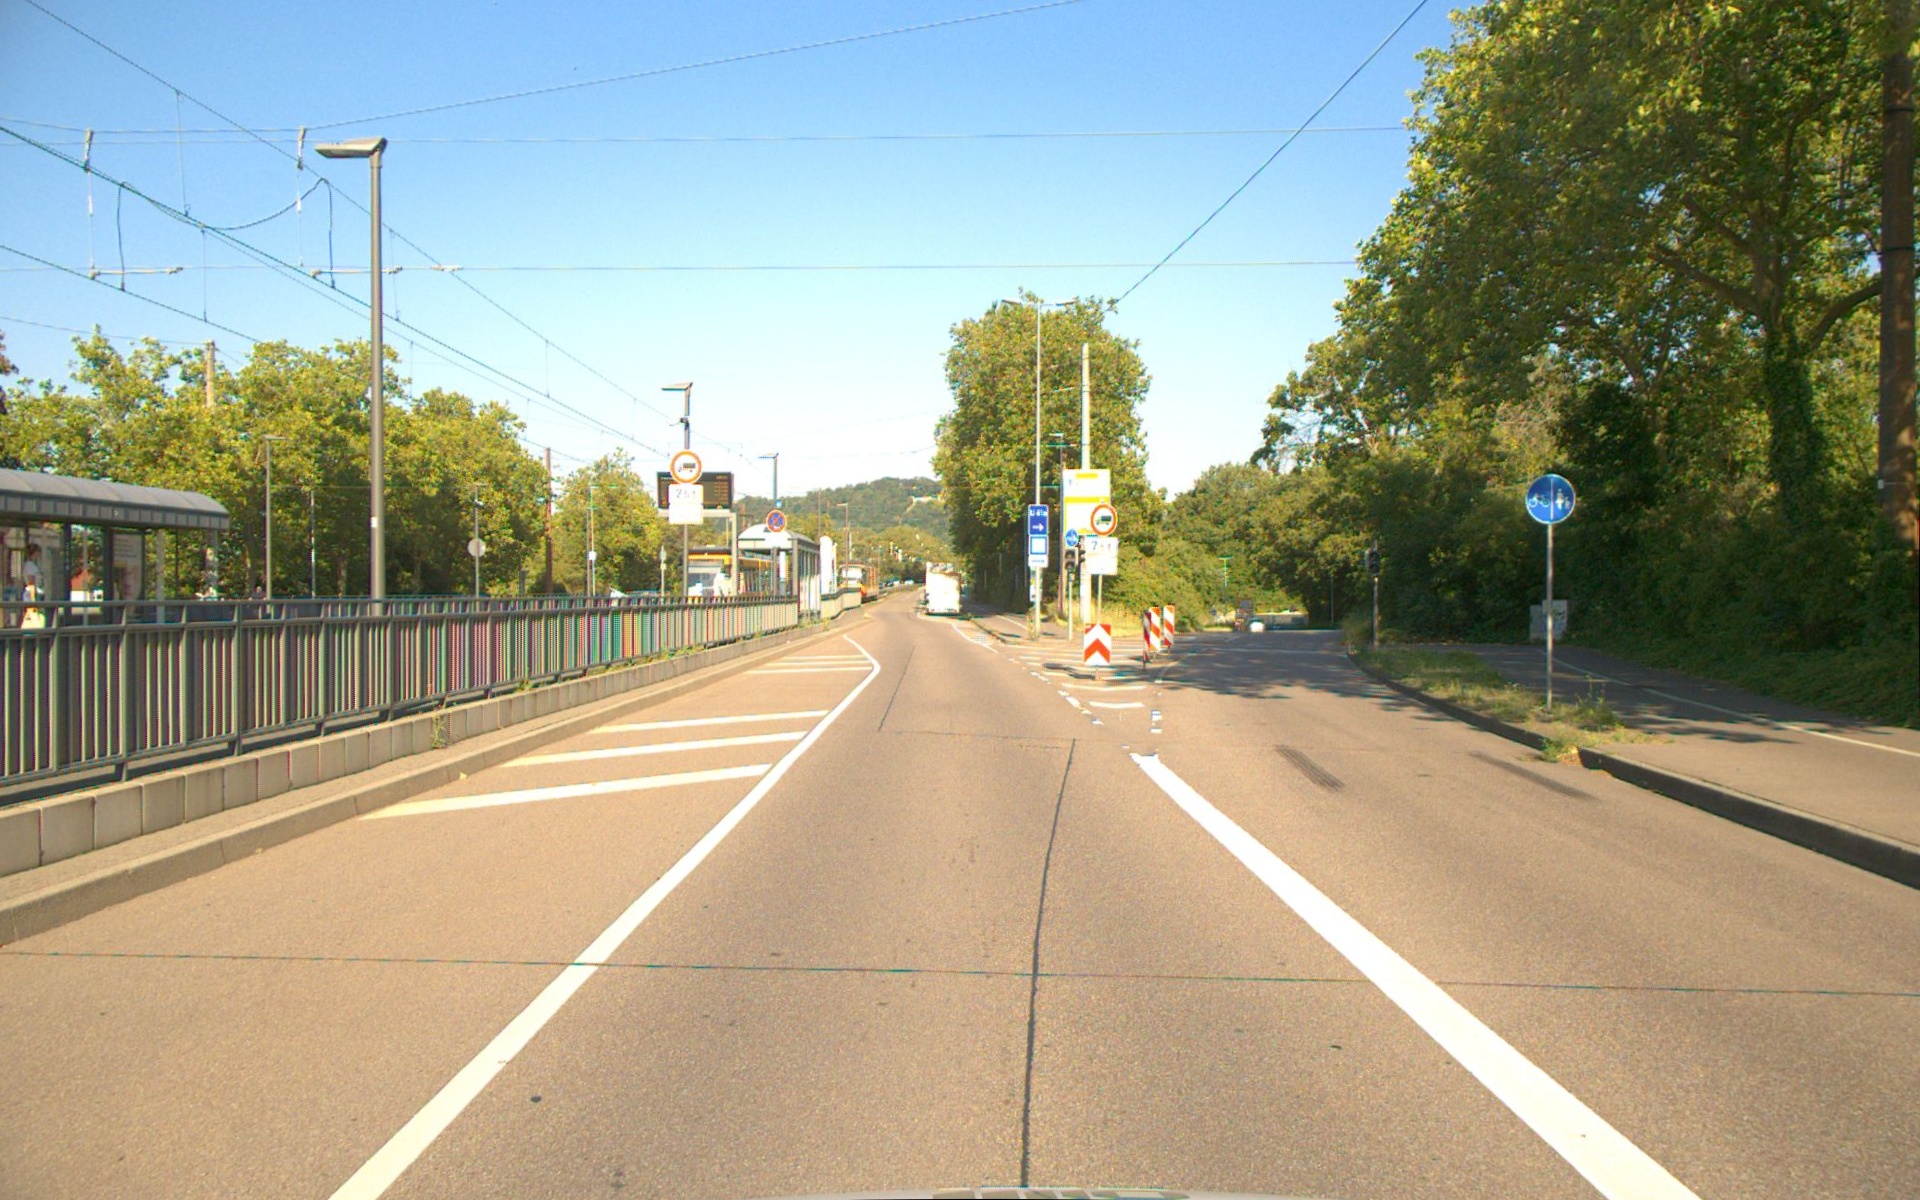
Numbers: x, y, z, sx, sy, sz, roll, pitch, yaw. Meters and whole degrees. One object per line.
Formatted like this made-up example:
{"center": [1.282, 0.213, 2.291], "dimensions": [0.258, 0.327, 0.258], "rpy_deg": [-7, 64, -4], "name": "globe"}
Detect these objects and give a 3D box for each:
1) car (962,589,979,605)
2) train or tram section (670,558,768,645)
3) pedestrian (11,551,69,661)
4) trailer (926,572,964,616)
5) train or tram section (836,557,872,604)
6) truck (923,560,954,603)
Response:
{"center": [0.985, -0.283, 156.080], "dimensions": [1.619, 1.462, 3.777], "rpy_deg": [0, 0, 0], "name": "car"}
{"center": [-12.342, 0.049, 86.203], "dimensions": [2.769, 4.076, 15.874], "rpy_deg": [1, 0, 0], "name": "train or tram section"}
{"center": [-15.204, 0.098, 27.343], "dimensions": [0.687, 1.787, 0.586], "rpy_deg": [0, 0, 35], "name": "pedestrian"}
{"center": [-0.917, -0.380, 106.794], "dimensions": [2.204, 2.742, 5.948], "rpy_deg": [0, 0, 2], "name": "trailer"}
{"center": [-9.874, -1.808, 155.461], "dimensions": [2.666, 4.162, 13.613], "rpy_deg": [-1, 1, -1], "name": "train or tram section"}
{"center": [-2.036, -1.716, 154.529], "dimensions": [2.686, 3.849, 10.086], "rpy_deg": [2, 0, -1], "name": "truck"}
